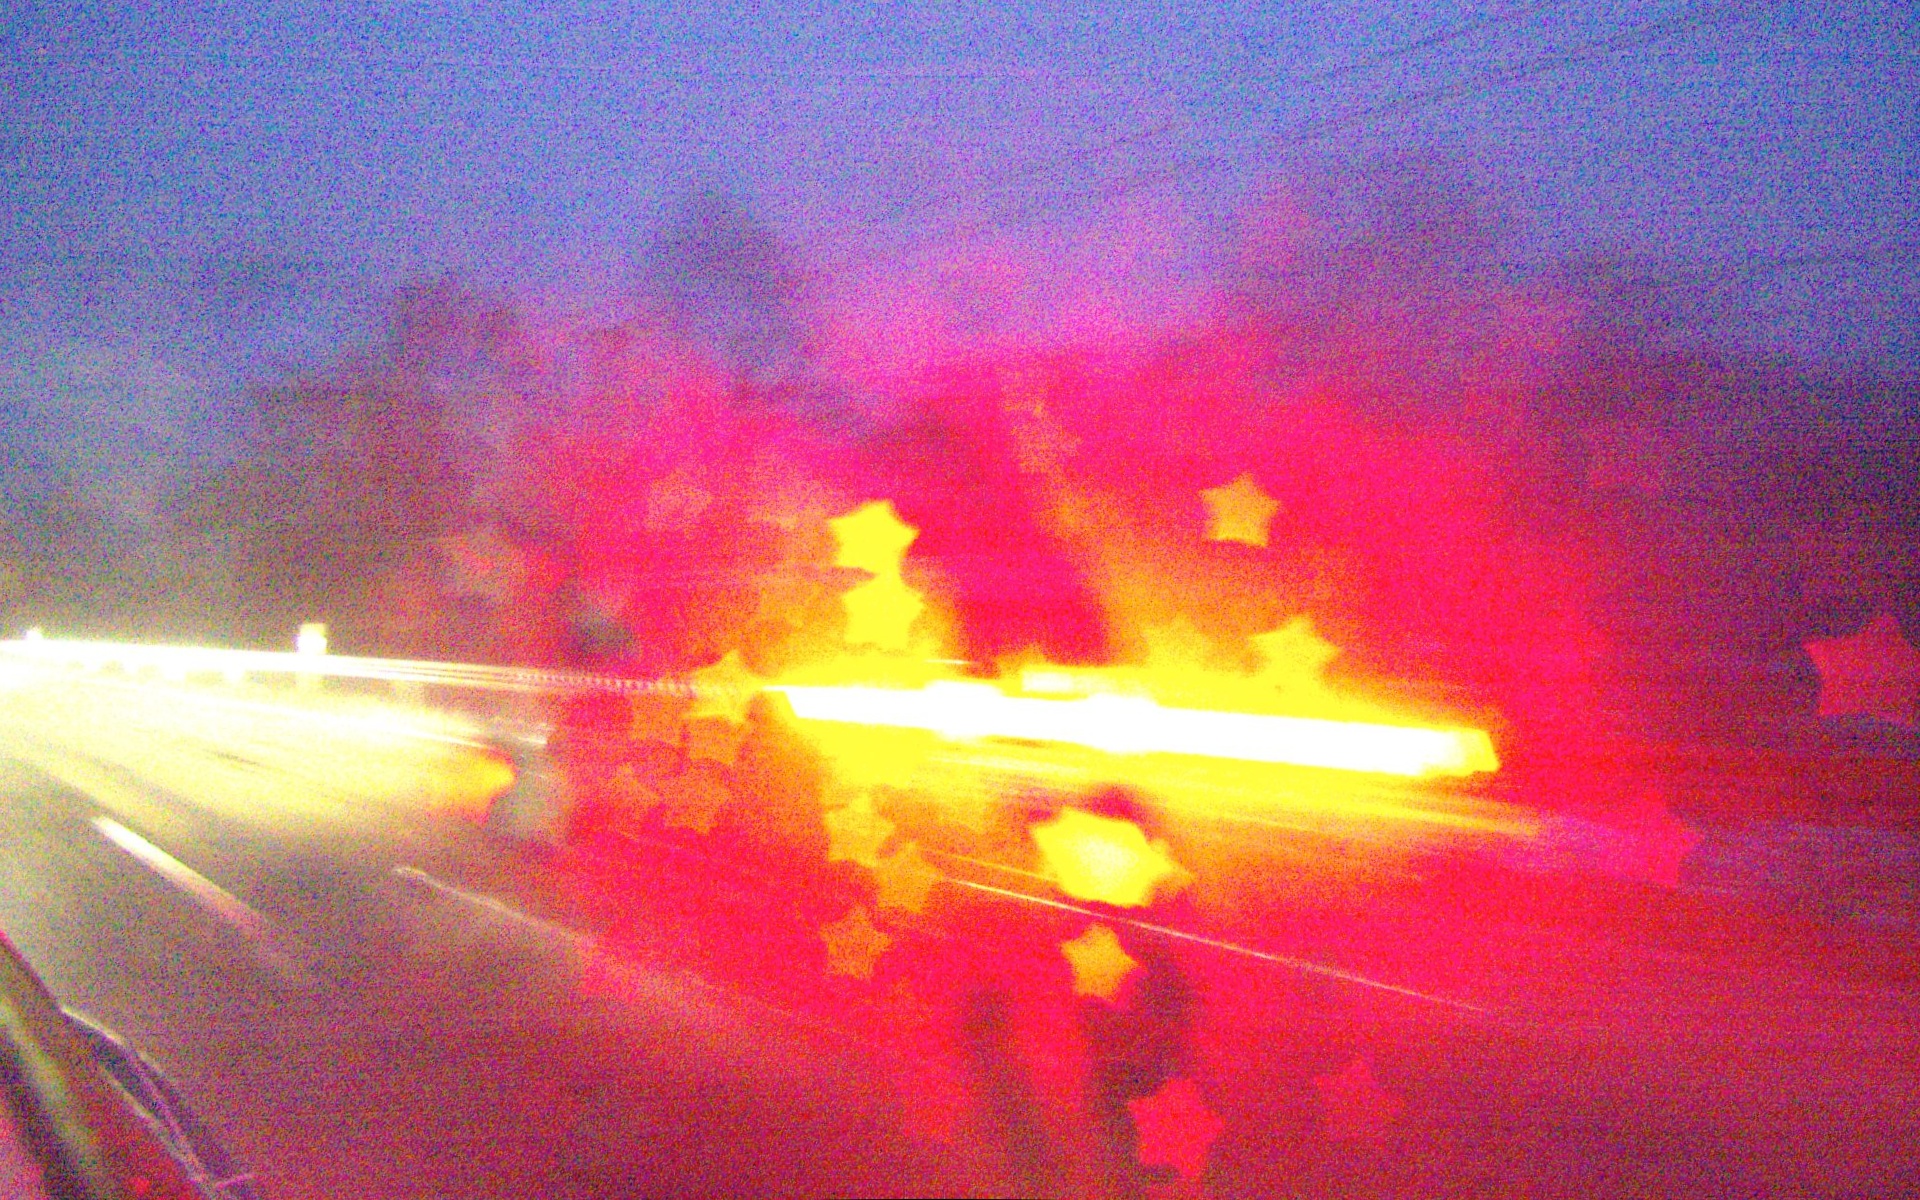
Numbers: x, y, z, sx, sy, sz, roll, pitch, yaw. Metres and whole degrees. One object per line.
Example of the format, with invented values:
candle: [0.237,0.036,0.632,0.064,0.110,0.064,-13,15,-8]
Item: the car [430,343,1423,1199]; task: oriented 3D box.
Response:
car: [-0.450,0.428,4.266,3.998,1.955,1.835,-1,0,41]
